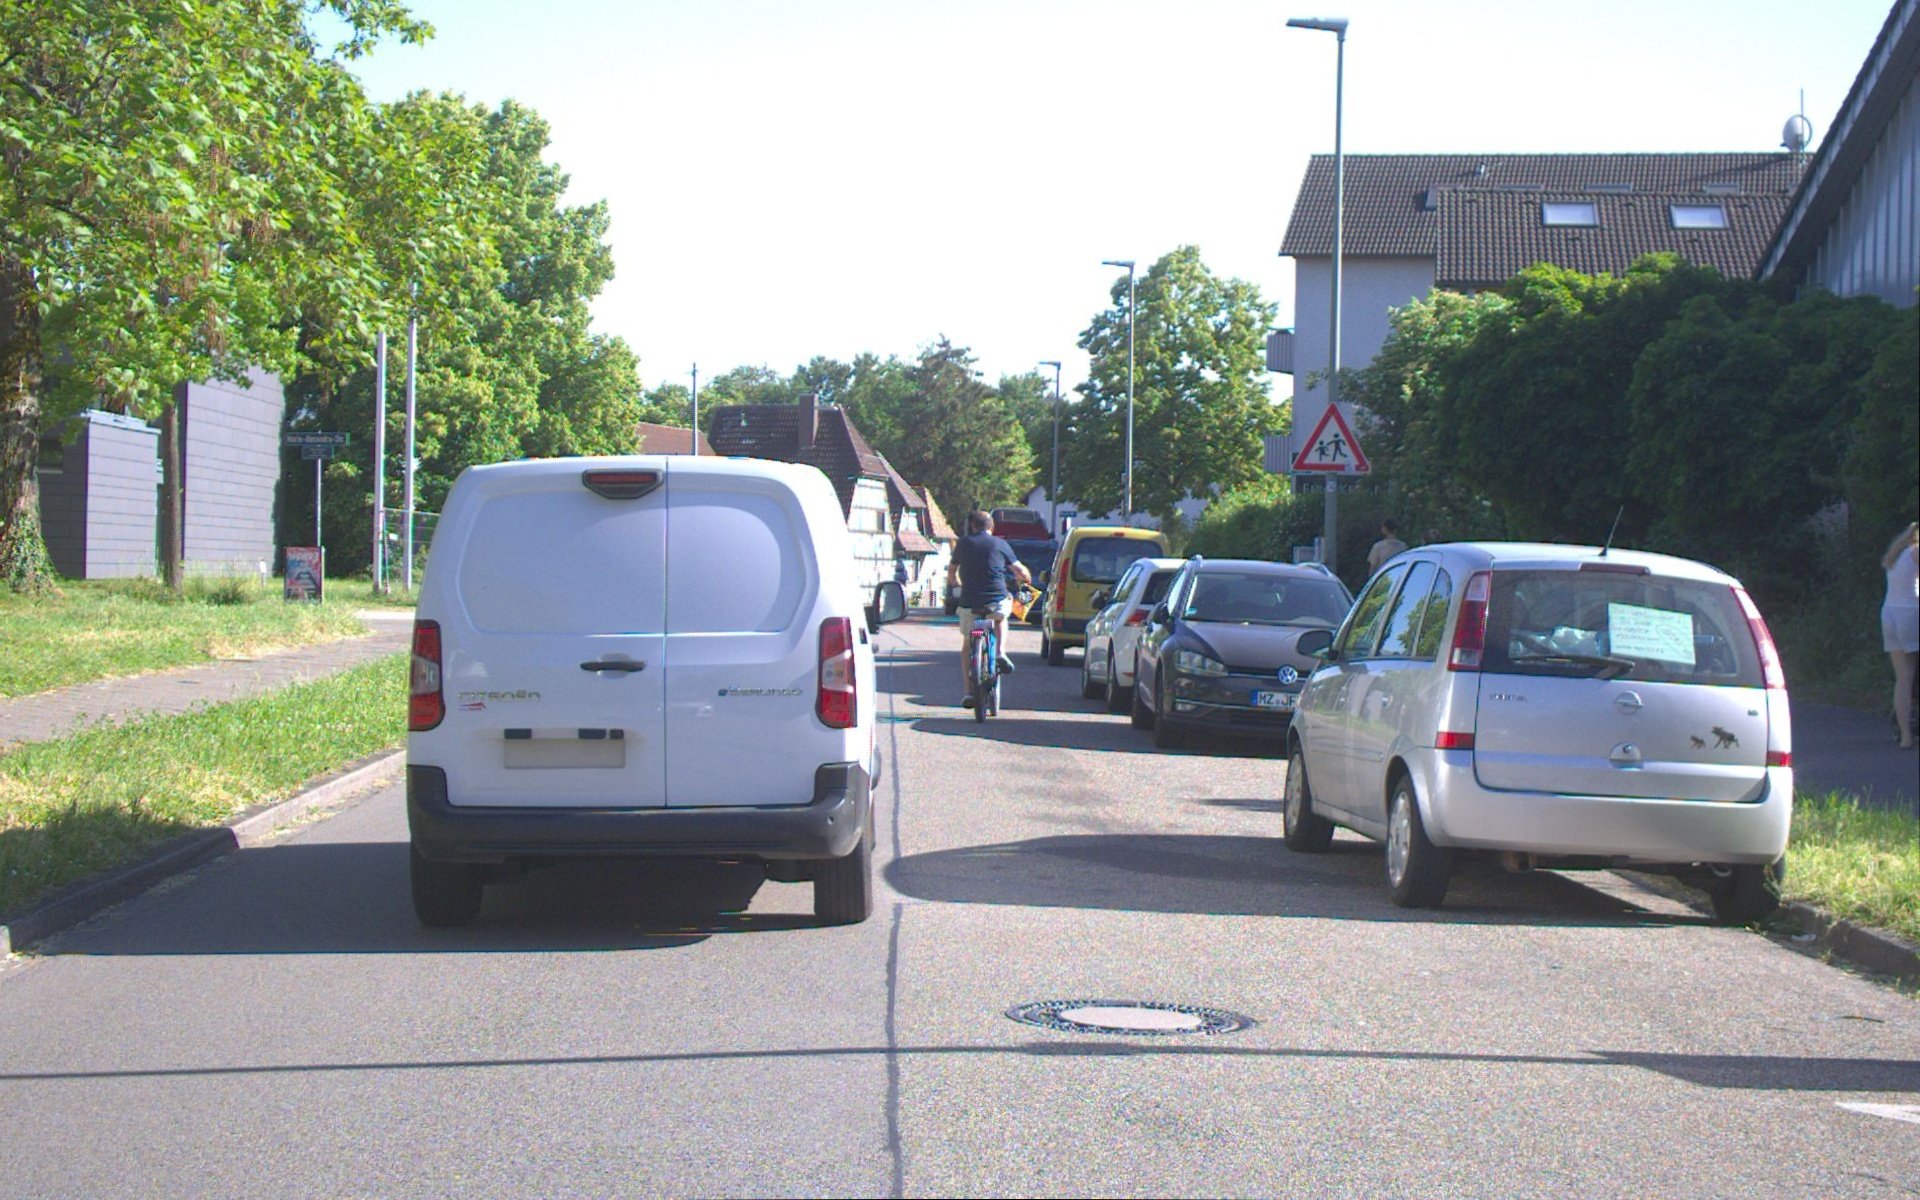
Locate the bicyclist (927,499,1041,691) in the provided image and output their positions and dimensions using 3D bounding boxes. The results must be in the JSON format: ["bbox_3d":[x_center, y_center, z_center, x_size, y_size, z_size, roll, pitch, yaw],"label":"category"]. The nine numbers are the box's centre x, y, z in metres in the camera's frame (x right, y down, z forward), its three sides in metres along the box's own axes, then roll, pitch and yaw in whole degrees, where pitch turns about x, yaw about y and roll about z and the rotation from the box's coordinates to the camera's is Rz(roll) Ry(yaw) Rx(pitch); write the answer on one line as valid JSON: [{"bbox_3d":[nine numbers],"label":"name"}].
[{"bbox_3d":[0.208,-0.046,29.291,0.905,1.579,0.966,2,0,1],"label":"bicyclist"}]

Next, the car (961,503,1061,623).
[{"bbox_3d":[1.141,-0.821,78.803,1.866,2.553,4.768,4,0,-3],"label":"car"}]

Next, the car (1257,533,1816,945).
[{"bbox_3d":[2.574,0.564,16.306,1.679,1.594,4.029,4,0,-3],"label":"car"}]

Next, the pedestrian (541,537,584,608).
[{"bbox_3d":[-8.335,-0.575,72.068,0.510,1.441,0.638,5,1,32],"label":"pedestrian"}]

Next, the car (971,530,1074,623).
[{"bbox_3d":[1.273,-0.485,71.667,1.804,1.779,4.000,4,0,-3],"label":"car"}]

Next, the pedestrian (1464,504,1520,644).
[{"bbox_3d":[6.298,-0.306,40.696,0.567,1.631,0.546,1,1,4],"label":"pedestrian"}]

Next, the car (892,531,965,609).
[{"bbox_3d":[-0.910,-0.831,97.955,1.804,2.061,4.000,4,0,-3],"label":"car"}]

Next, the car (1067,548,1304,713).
[{"bbox_3d":[2.123,0.256,33.422,1.826,1.447,4.000,2,1,-3],"label":"car"}]

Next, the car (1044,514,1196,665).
[{"bbox_3d":[2.047,-0.151,44.857,1.724,1.831,4.000,2,1,0],"label":"car"}]

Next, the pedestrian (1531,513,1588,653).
[{"bbox_3d":[7.069,-0.202,40.556,0.567,1.631,0.546,1,1,4],"label":"pedestrian"}]

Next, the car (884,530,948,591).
[{"bbox_3d":[-1.444,-1.286,113.610,1.804,1.836,4.000,4,0,2],"label":"car"}]

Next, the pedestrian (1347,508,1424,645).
[{"bbox_3d":[5.902,-0.331,47.721,0.793,1.855,0.874,2,1,-8],"label":"pedestrian"}]

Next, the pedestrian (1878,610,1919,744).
[{"bbox_3d":[7.272,0.579,25.932,0.532,0.977,0.810,2,1,7],"label":"pedestrian"}]

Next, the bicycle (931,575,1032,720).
[{"bbox_3d":[0.201,0.377,29.214,0.787,1.134,2.280,1,1,2],"label":"bicycle"}]

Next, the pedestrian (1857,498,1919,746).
[{"bbox_3d":[7.037,0.159,25.093,0.798,1.775,0.809,1,1,7],"label":"pedestrian"}]

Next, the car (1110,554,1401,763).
[{"bbox_3d":[2.240,0.395,27.118,1.807,1.438,4.364,2,1,-1],"label":"car"}]

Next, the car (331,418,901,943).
[{"bbox_3d":[-1.295,0.250,14.707,1.993,1.875,4.289,1,1,0],"label":"car"}]

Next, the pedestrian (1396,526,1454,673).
[{"bbox_3d":[5.237,-0.015,38.737,0.567,1.631,0.546,1,1,4],"label":"pedestrian"}]
